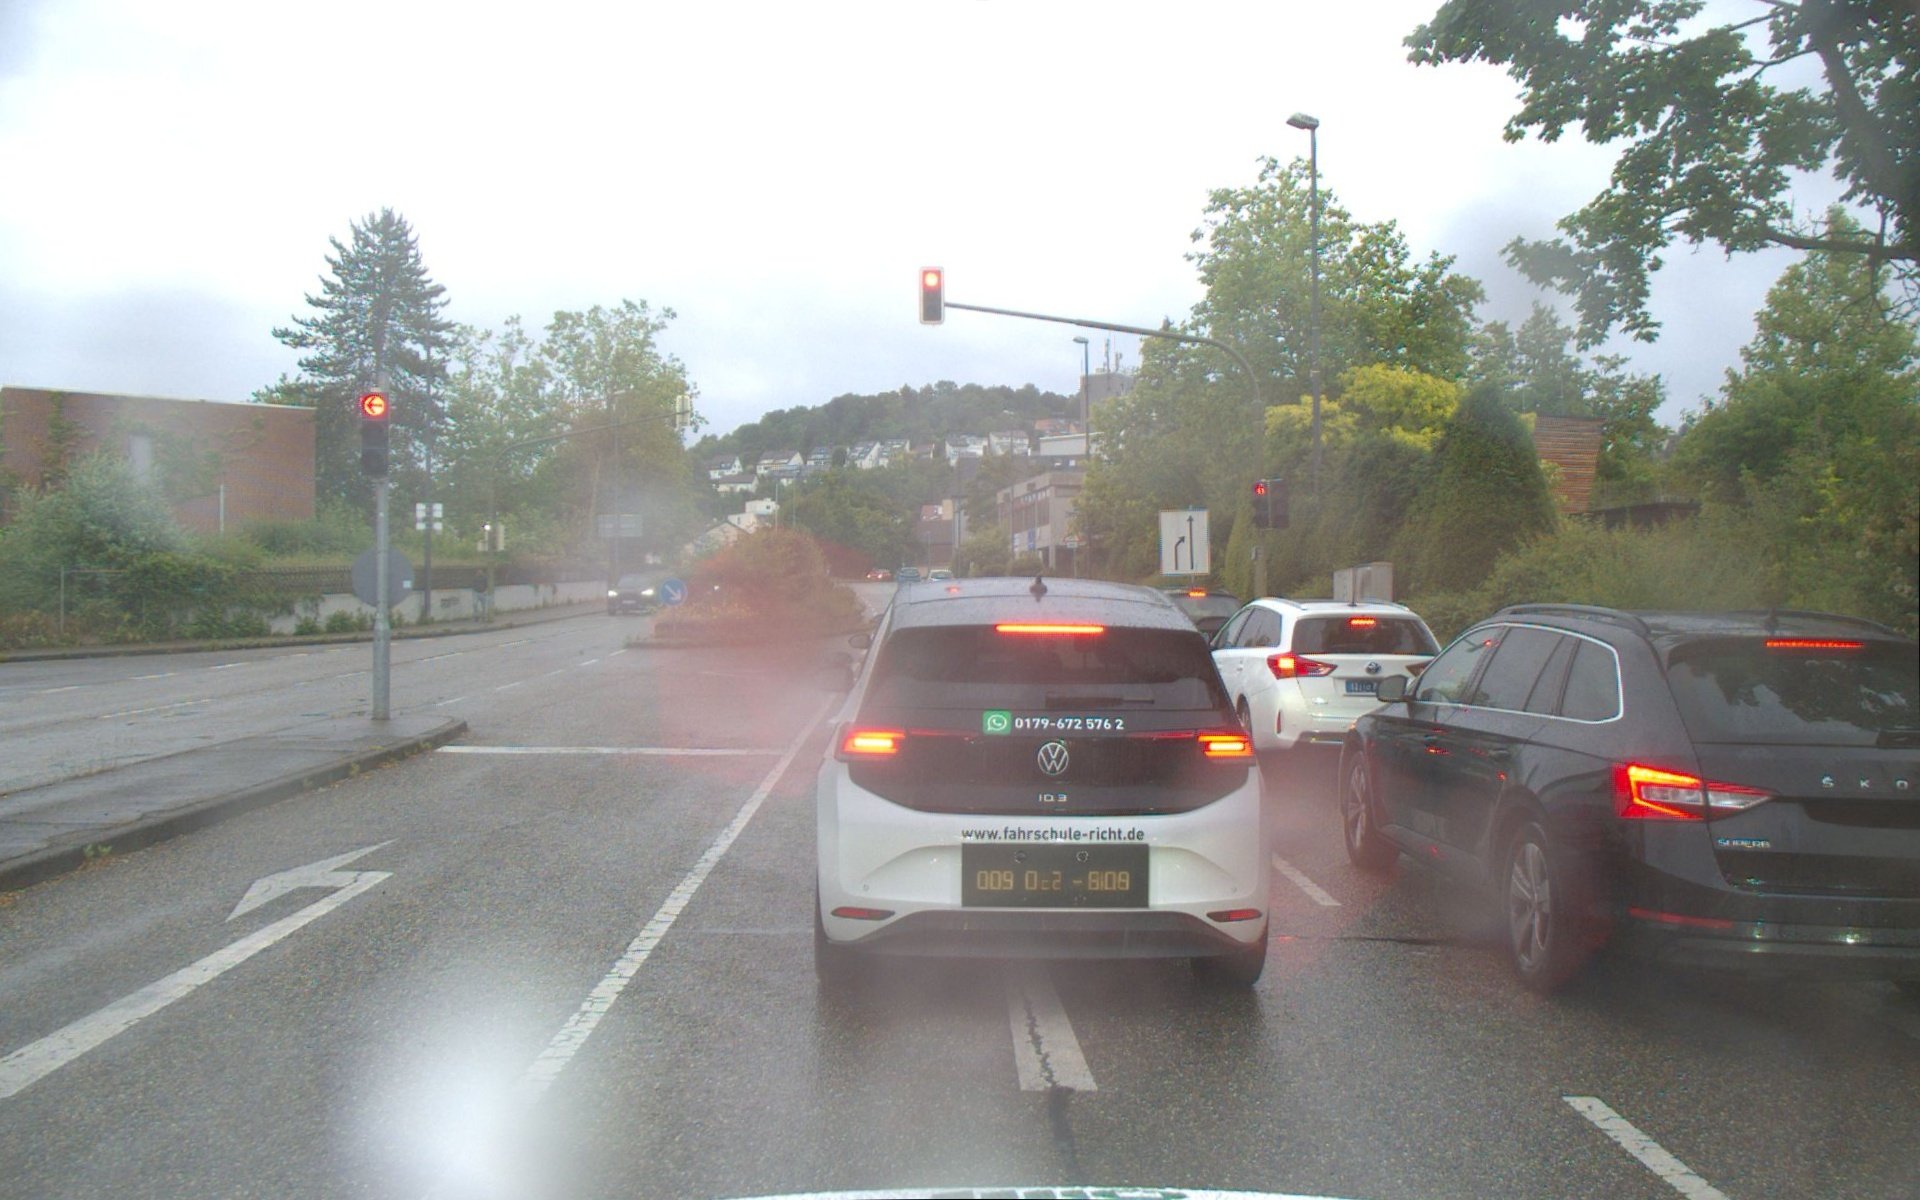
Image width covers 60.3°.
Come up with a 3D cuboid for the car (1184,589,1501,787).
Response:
[{"bbox_3d":[3.277,0.678,14.996,1.800,1.492,4.116,1,1,-1],"label":"car"}]

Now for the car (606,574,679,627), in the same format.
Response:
[{"bbox_3d":[-12.046,0.014,62.923,1.953,1.836,3.999,-3,0,-1],"label":"car"}]

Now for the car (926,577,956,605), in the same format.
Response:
[{"bbox_3d":[-1.036,-0.482,90.556,1.549,1.492,3.998,-1,0,-2],"label":"car"}]

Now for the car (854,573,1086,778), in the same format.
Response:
[{"bbox_3d":[0.030,0.578,15.178,1.800,1.582,4.174,1,1,-1],"label":"car"}]

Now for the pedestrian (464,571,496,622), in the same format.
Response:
[{"bbox_3d":[-15.485,-0.125,53.376,0.744,1.595,0.825,-2,0,-2],"label":"pedestrian"}]

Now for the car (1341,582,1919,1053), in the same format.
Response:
[{"bbox_3d":[3.126,0.691,7.503,1.800,1.492,4.350,1,1,1],"label":"car"}]

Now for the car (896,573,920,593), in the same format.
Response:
[{"bbox_3d":[-3.943,-1.253,124.686,1.726,1.443,3.747,-1,1,-3],"label":"car"}]

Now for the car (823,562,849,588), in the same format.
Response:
[{"bbox_3d":[-10.490,-2.088,140.203,1.953,2.049,3.999,1,-1,-1],"label":"car"}]

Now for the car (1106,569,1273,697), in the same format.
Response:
[{"bbox_3d":[3.147,0.430,23.411,1.739,1.609,3.999,1,0,-1],"label":"car"}]

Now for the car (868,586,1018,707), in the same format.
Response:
[{"bbox_3d":[-0.256,0.553,22.086,1.800,1.424,3.830,1,1,-1],"label":"car"}]

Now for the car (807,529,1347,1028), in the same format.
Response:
[{"bbox_3d":[0.348,0.588,7.930,1.800,1.657,4.614,1,1,-1],"label":"car"}]
